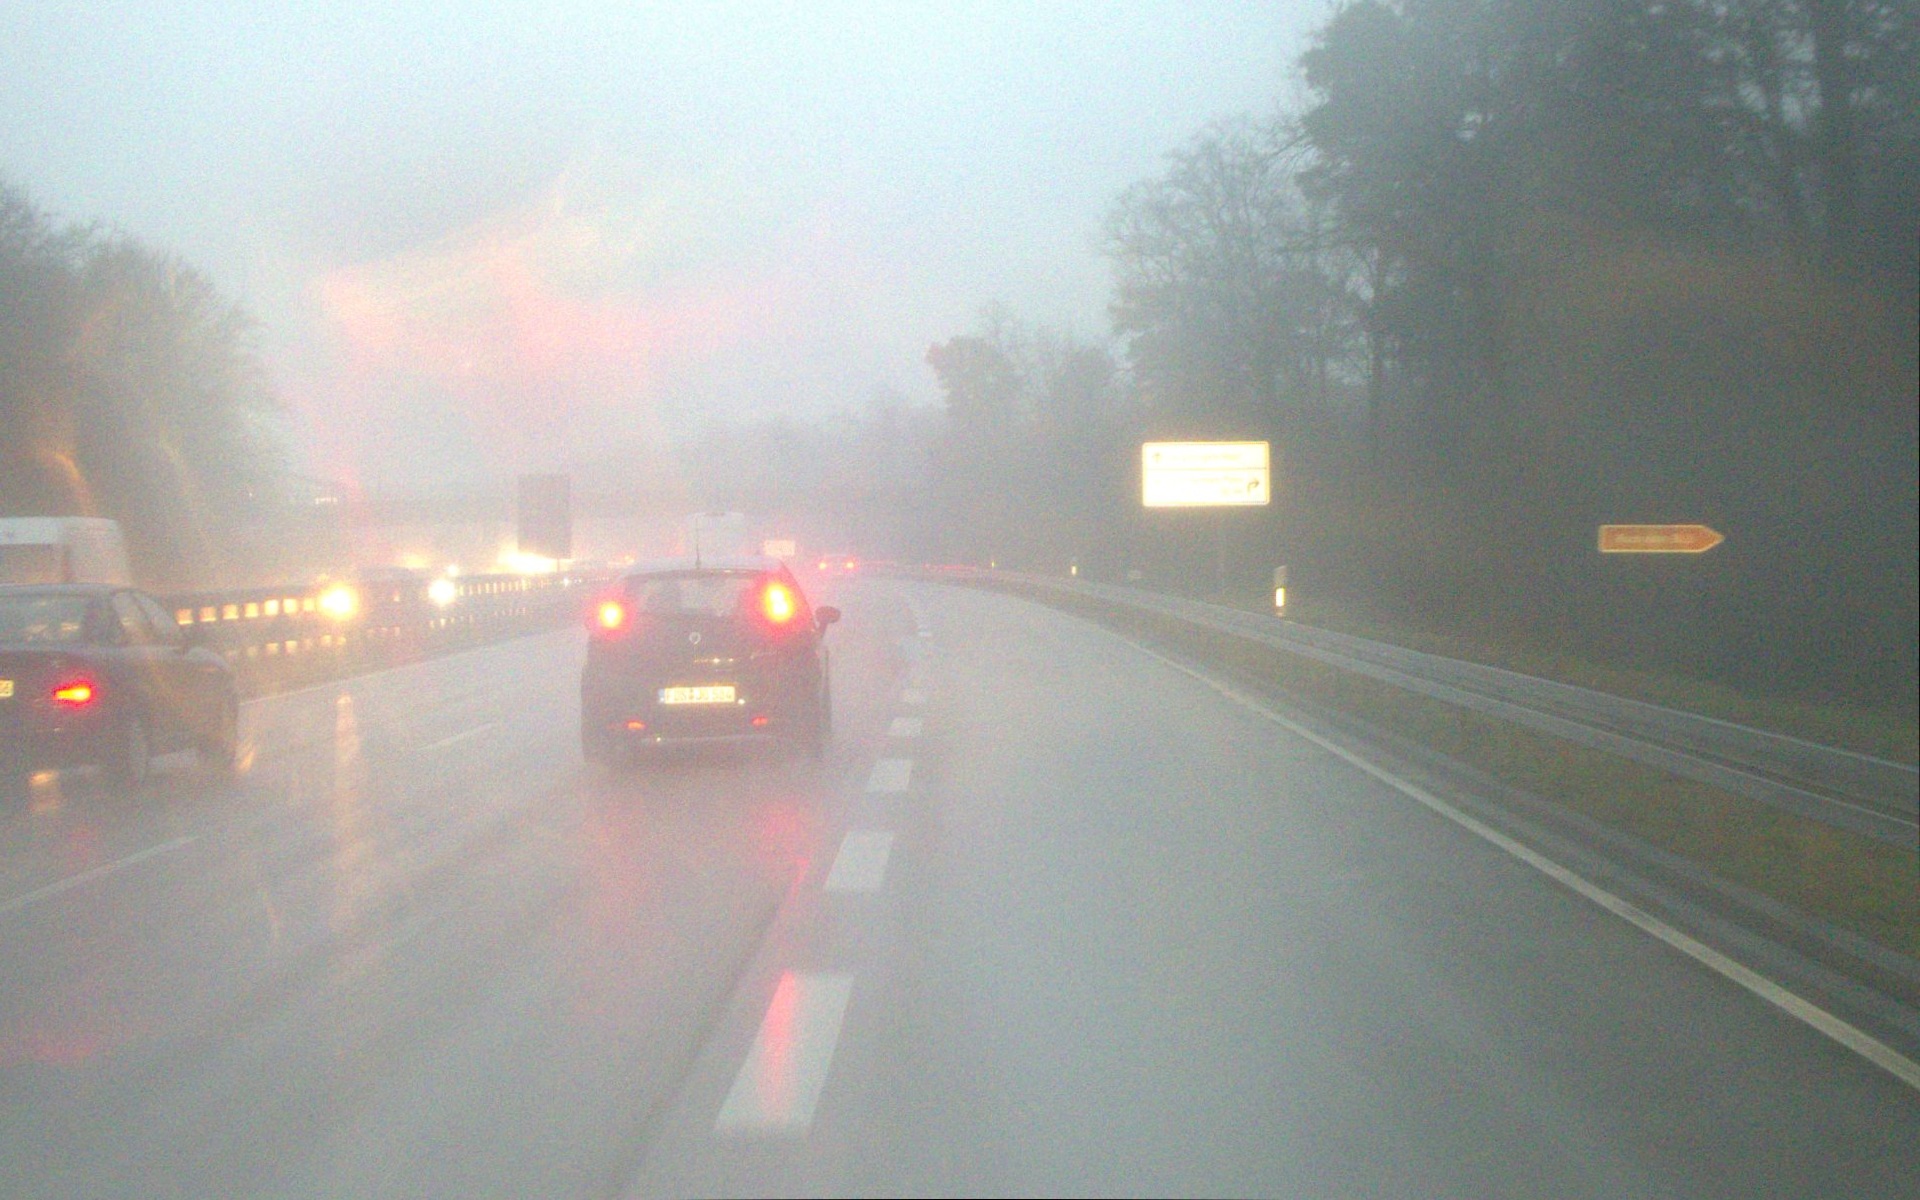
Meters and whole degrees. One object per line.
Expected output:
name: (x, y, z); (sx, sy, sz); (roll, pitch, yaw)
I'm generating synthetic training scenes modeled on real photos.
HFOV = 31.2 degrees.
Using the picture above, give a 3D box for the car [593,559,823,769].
car: (-1.827, 0.427, 25.712); (1.527, 1.411, 3.479); (1, 1, -2)

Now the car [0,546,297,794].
car: (-6.090, 0.429, 24.286); (1.776, 1.529, 4.703); (-3, 1, 1)
